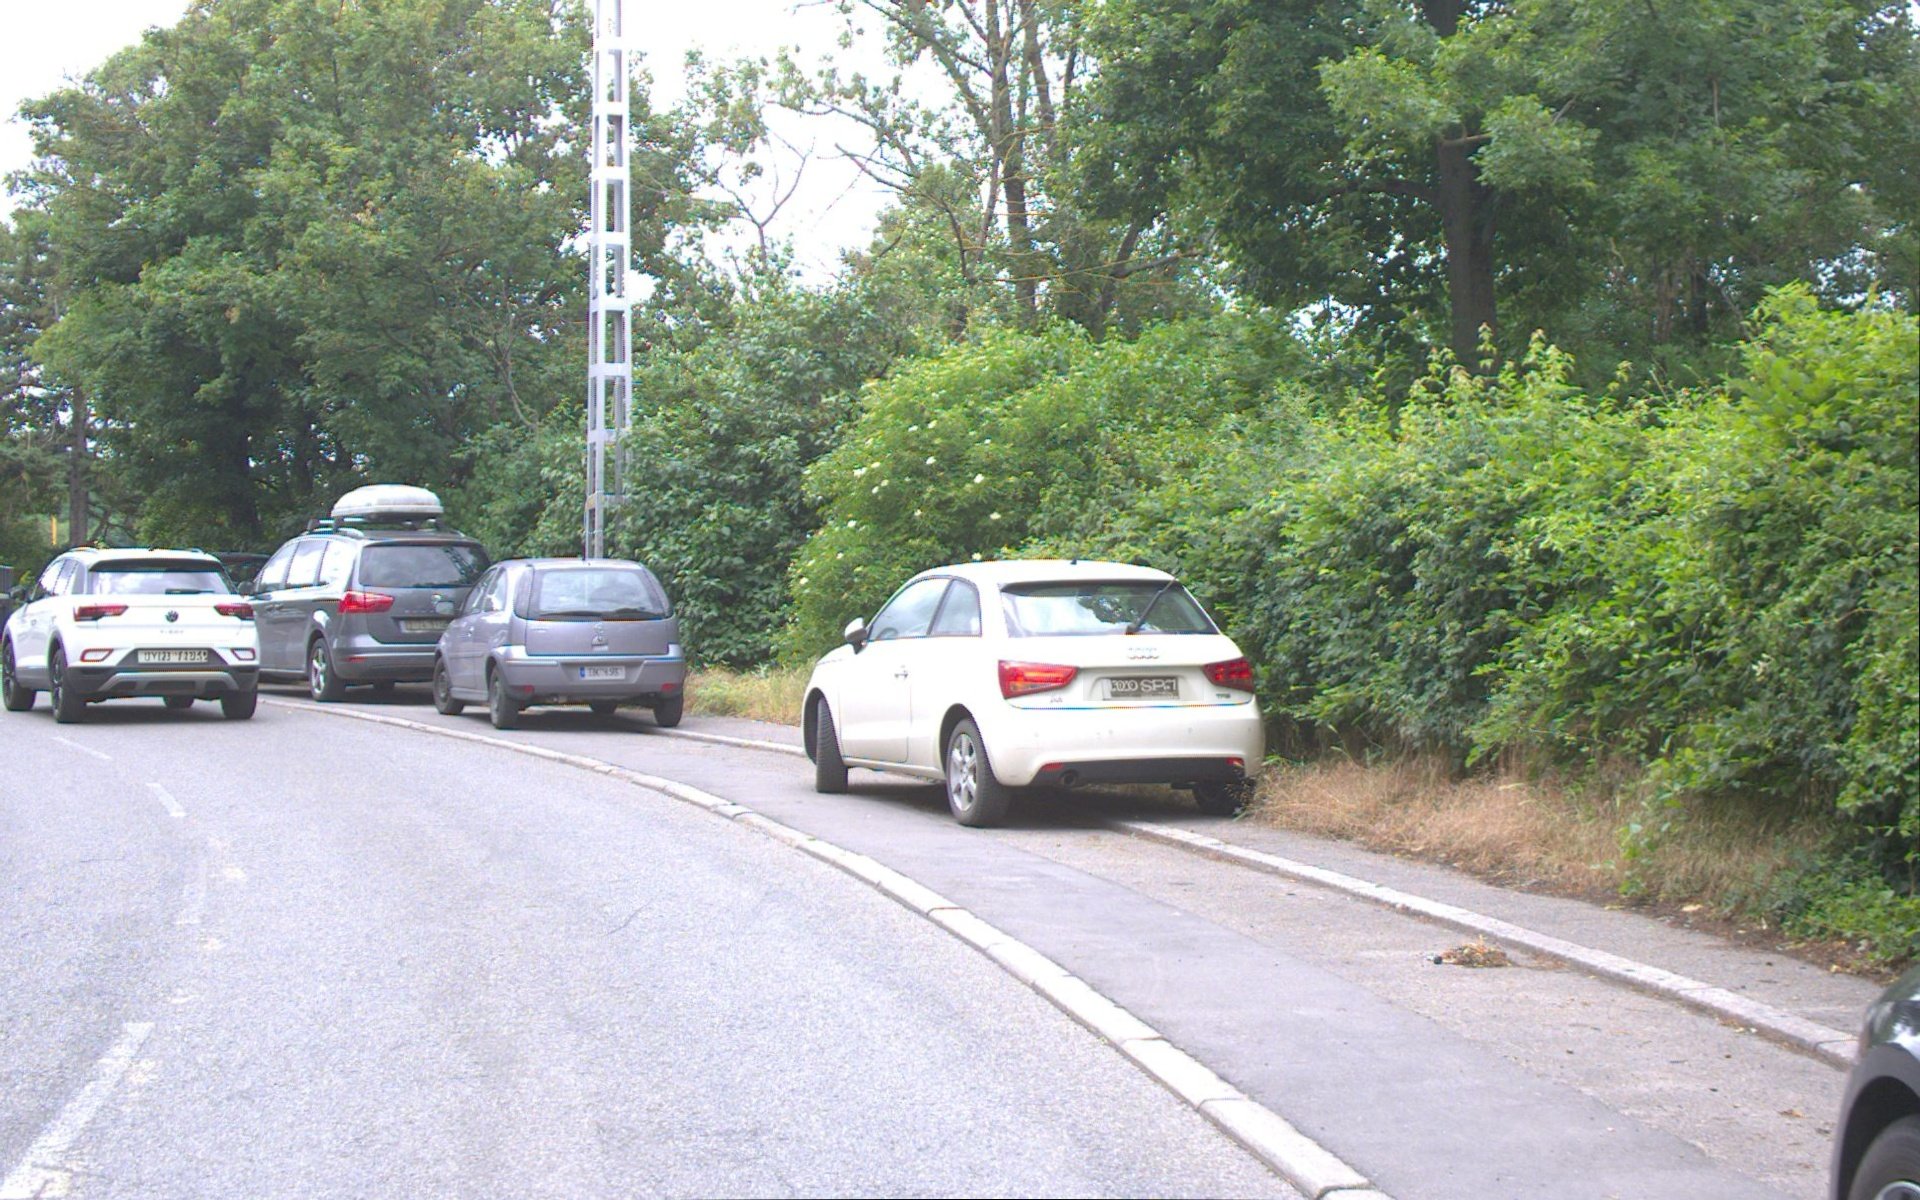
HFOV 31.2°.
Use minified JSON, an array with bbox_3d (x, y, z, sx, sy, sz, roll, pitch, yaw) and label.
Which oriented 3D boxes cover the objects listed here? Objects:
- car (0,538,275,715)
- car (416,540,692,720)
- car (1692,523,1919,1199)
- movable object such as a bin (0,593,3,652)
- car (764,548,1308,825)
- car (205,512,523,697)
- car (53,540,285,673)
[{"bbox_3d":[-7.724,0.197,31.979,1.866,1.531,3.804,-1,1,-24],"label":"car"},{"bbox_3d":[-3.637,0.233,30.271,1.640,1.459,4.001,1,0,-18],"label":"car"},{"bbox_3d":[2.198,0.644,3.304,1.700,1.459,4.664,-1,1,-4],"label":"car"},{"bbox_3d":[-14.595,0.323,51.060,0.520,0.878,0.532,3,-1,-39],"label":"movable object such as a bin"},{"bbox_3d":[0.321,0.424,20.071,1.776,1.413,4.001,-1,1,-21],"label":"car"},{"bbox_3d":[-6.219,0.016,35.437,1.798,1.766,4.608,1,0,-29],"label":"car"},{"bbox_3d":[-9.452,0.052,40.884,1.659,1.482,4.035,1,0,-28],"label":"car"}]
